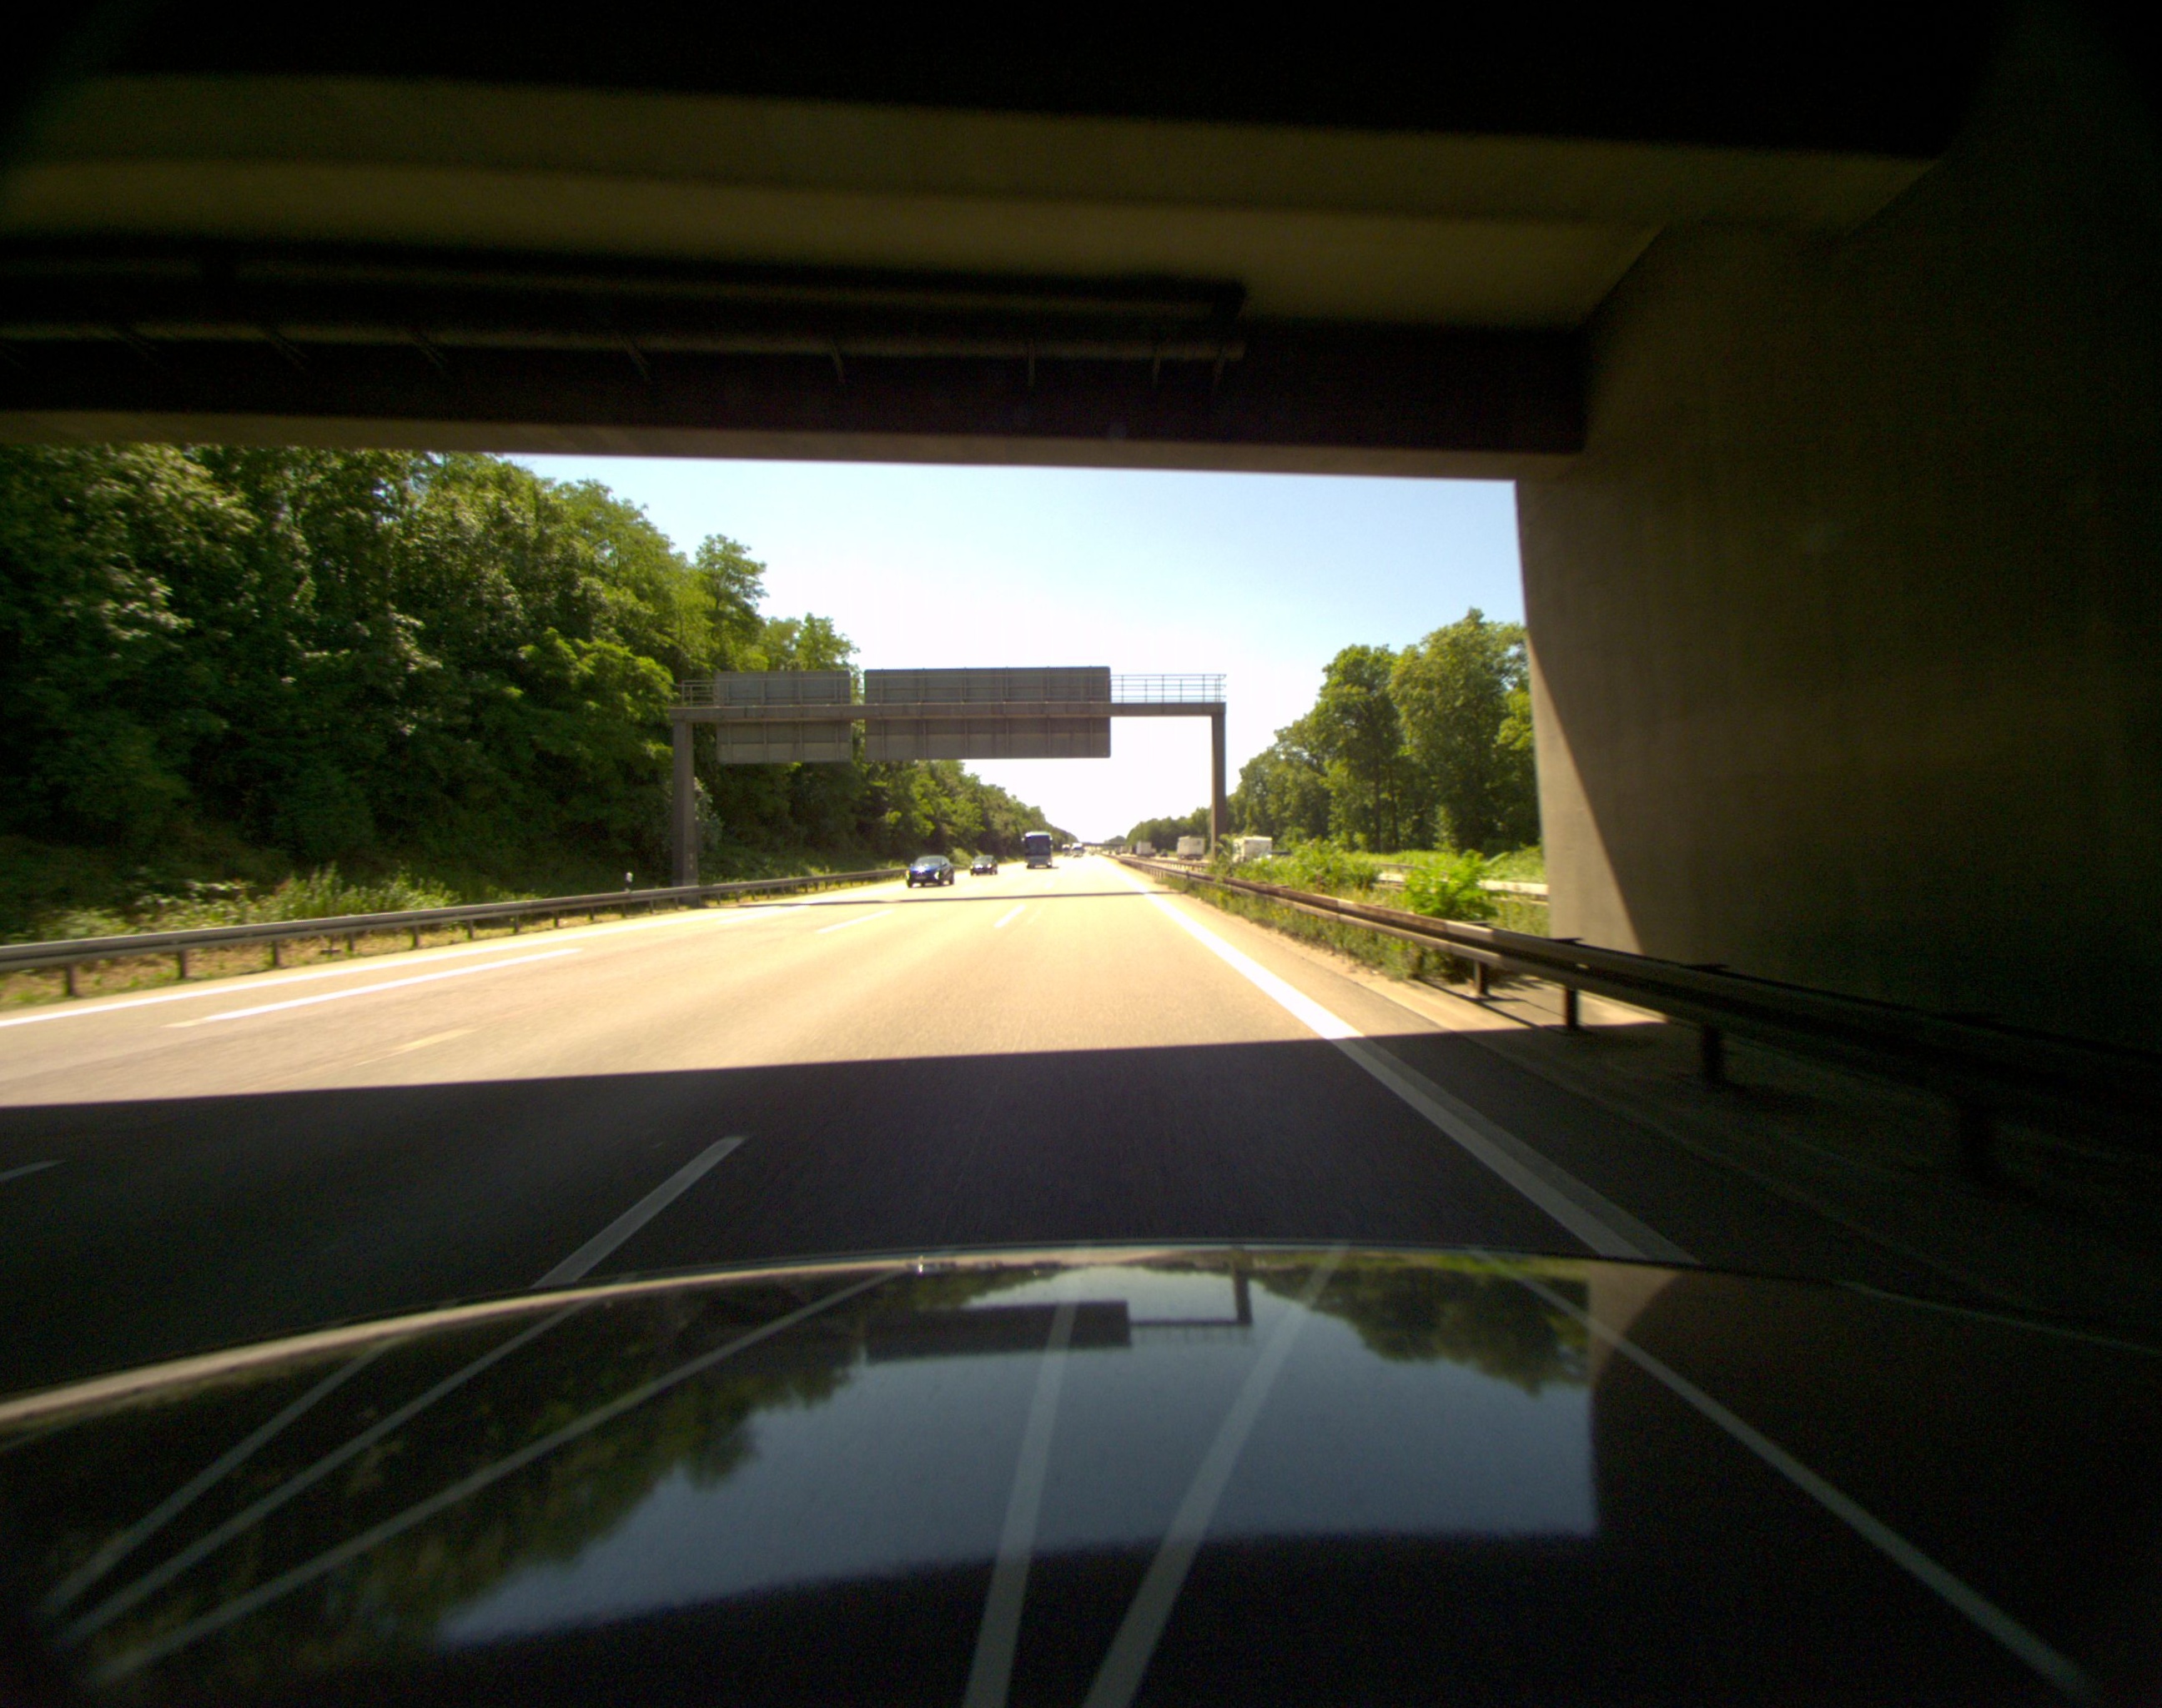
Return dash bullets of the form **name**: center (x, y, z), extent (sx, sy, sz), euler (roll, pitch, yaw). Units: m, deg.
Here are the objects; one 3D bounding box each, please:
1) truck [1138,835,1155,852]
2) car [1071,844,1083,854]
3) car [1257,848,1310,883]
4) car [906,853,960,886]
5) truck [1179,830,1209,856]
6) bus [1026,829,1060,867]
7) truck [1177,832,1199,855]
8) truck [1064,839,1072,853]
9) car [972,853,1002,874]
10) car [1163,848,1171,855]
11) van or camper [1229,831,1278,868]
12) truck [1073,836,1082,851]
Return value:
- **truck**: center (16.631, -2.629, 193.397), extent (2.994, 3.995, 13.934), euler (-2, 1, 0)
- **car**: center (-0.996, -1.196, 189.773), extent (2.616, 2.389, 7.122), euler (-2, 1, 1)
- **car**: center (11.560, 0.628, 43.574), extent (1.695, 1.805, 4.713), euler (-2, 1, 0)
- **car**: center (-7.646, 0.760, 39.543), extent (1.875, 1.547, 4.201), euler (-2, 1, 1)
- **truck**: center (19.730, -1.910, 133.460), extent (3.074, 4.227, 13.958), euler (1, 1, 0)
- **bus**: center (-3.823, -0.697, 79.357), extent (2.617, 3.532, 13.681), euler (-2, 1, 1)
- **truck**: center (19.719, -1.890, 140.248), extent (2.977, 4.039, 6.458), euler (1, 1, 1)
- **truck**: center (-4.477, -2.708, 265.309), extent (2.616, 4.638, 10.960), euler (-2, 1, 1)
- **car**: center (-7.121, 0.682, 57.885), extent (1.674, 1.439, 4.573), euler (-2, 1, 1)
- **car**: center (20.921, -0.618, 185.119), extent (1.829, 1.527, 4.010), euler (0, 1, 3)
- **van or camper**: center (14.886, -0.414, 66.130), extent (2.599, 2.890, 7.233), euler (-2, 1, 1)
- **truck**: center (-1.037, -3.270, 236.263), extent (2.616, 4.638, 10.960), euler (-2, 1, 1)
